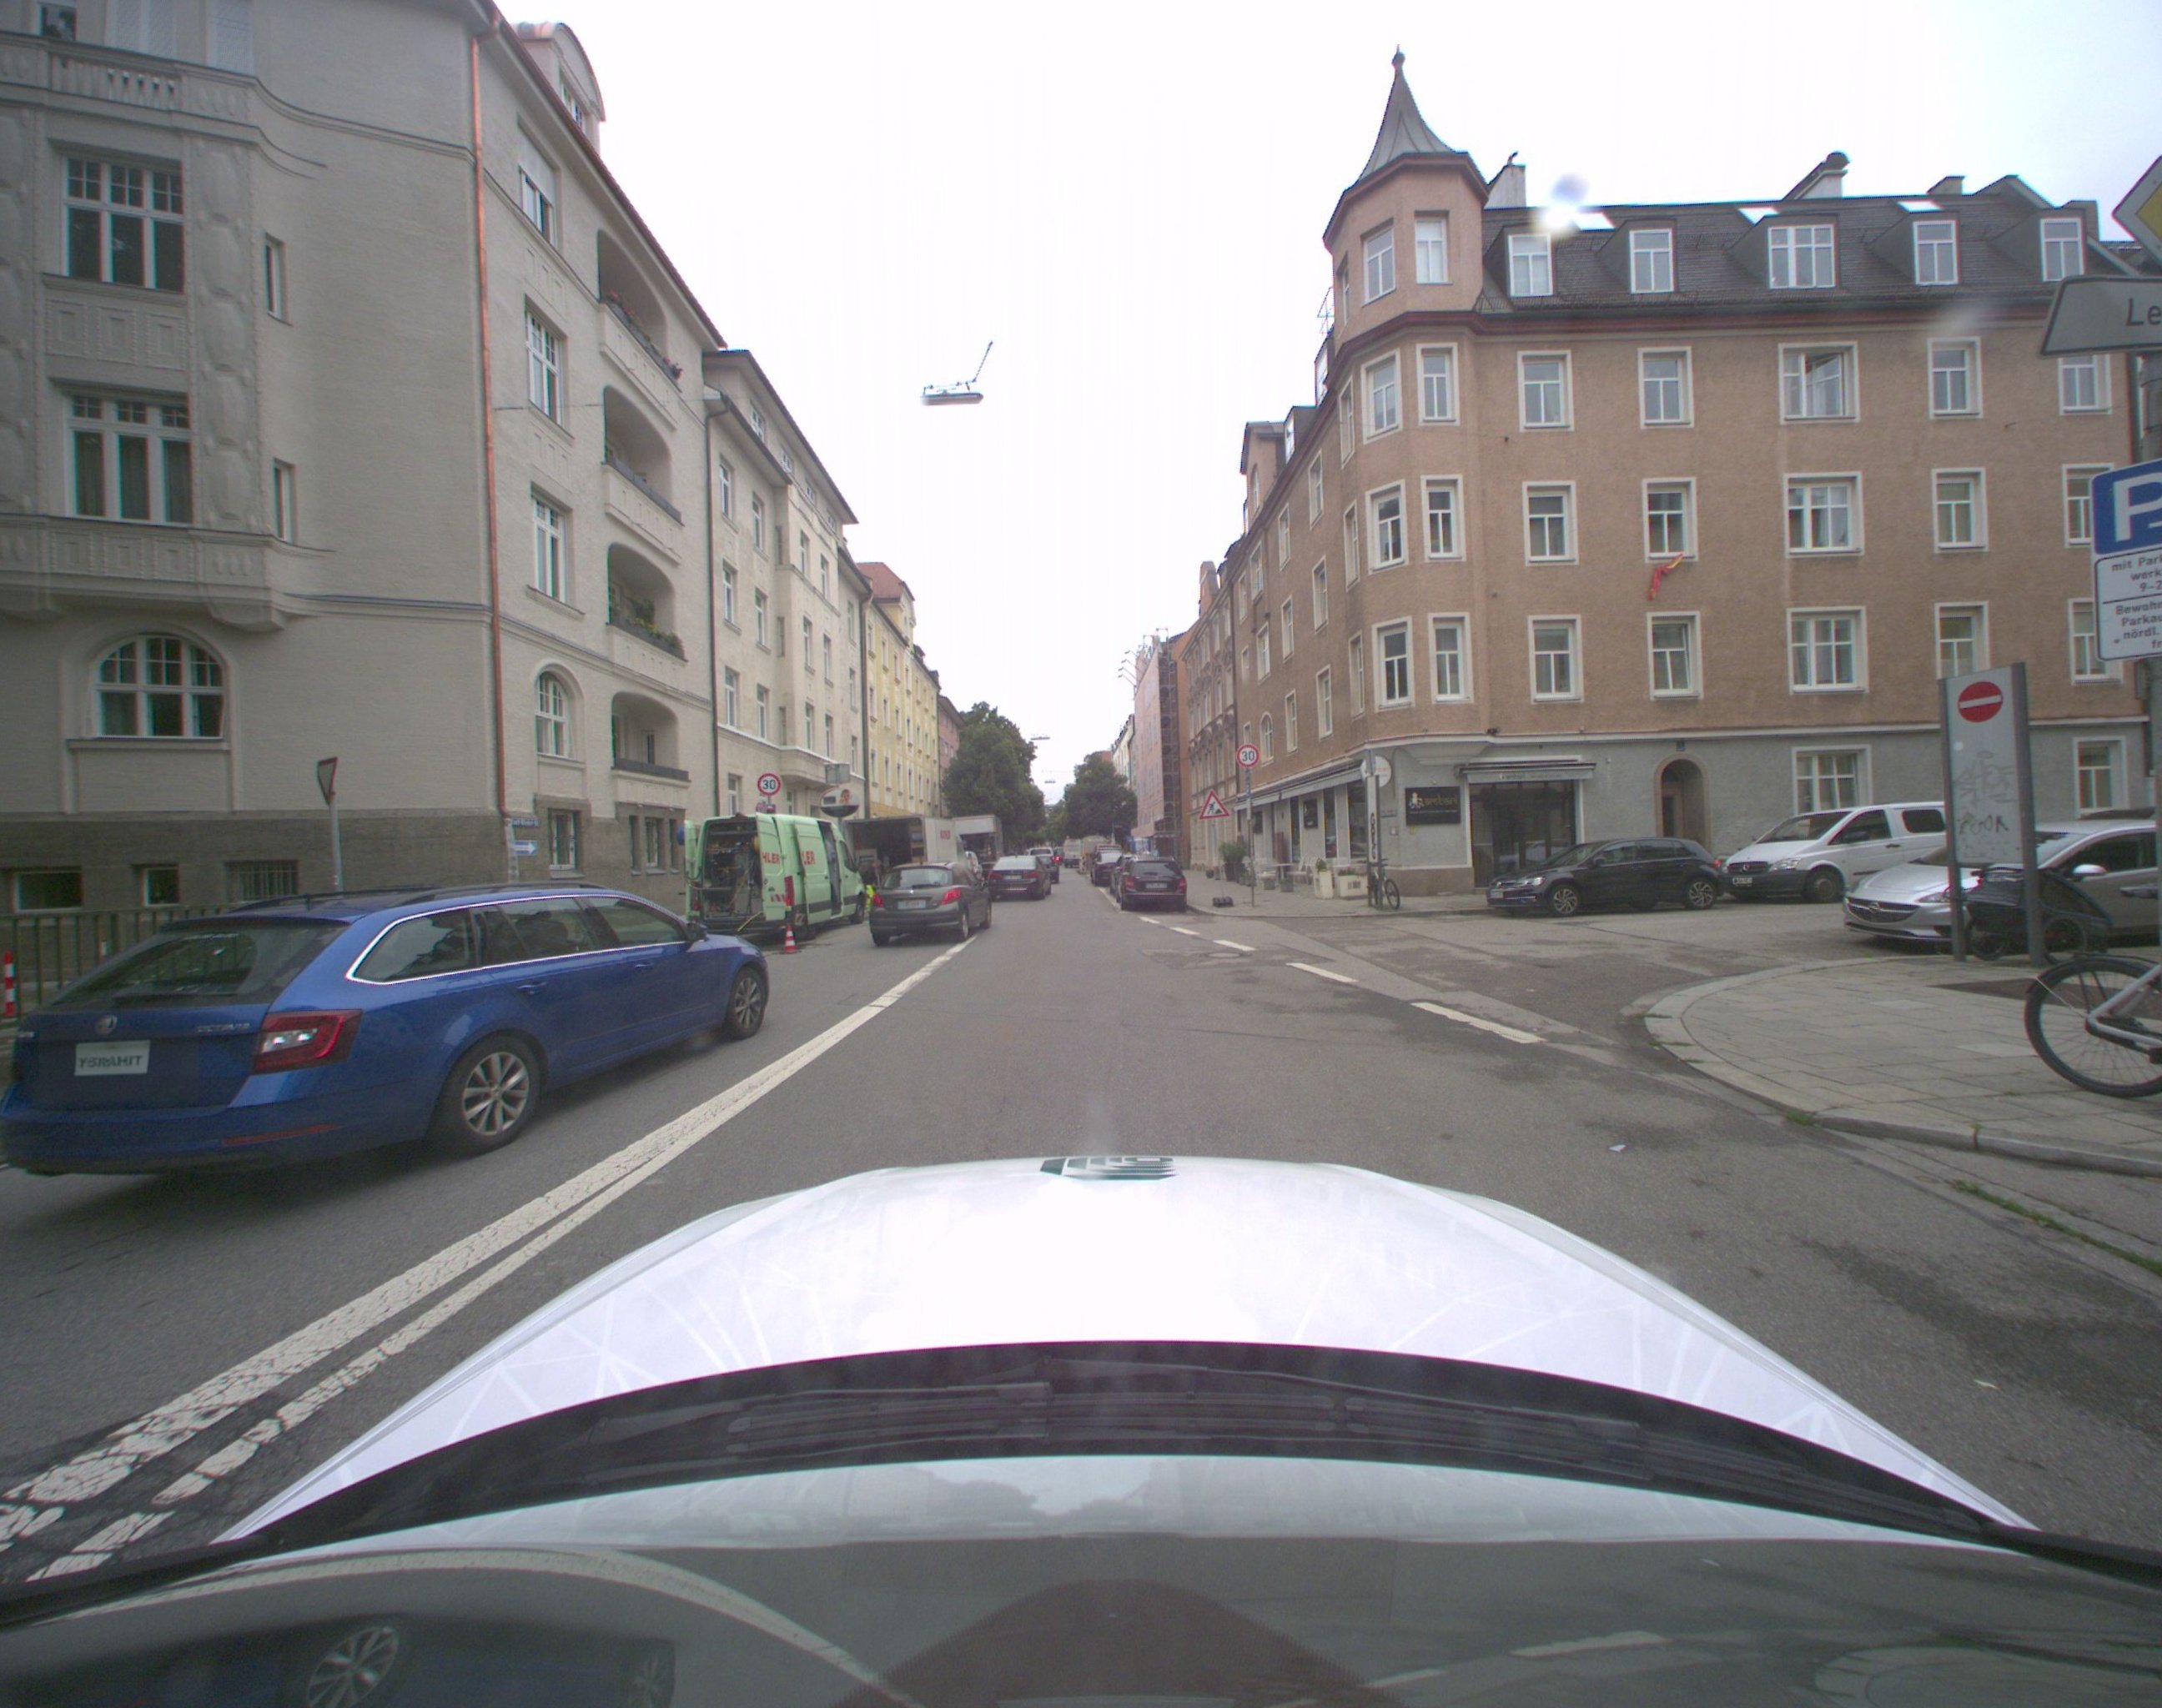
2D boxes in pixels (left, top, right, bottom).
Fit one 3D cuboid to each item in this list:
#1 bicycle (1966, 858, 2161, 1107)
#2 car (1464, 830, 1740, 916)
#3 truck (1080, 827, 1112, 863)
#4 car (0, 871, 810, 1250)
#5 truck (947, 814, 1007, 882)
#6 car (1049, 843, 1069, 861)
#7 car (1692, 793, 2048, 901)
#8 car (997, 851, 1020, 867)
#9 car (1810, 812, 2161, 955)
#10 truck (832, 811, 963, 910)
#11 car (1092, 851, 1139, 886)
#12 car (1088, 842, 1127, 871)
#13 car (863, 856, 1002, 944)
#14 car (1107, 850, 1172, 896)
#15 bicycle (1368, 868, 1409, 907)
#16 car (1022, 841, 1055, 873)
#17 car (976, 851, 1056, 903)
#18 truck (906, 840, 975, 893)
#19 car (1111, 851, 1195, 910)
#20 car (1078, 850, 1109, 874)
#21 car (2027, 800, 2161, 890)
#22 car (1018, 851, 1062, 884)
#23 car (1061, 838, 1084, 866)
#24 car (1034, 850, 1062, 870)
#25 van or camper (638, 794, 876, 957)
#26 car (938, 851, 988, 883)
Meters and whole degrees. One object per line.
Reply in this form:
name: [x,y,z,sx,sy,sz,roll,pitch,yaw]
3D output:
bicycle: [5.555,0.637,3.891,0.512,1.208,1.996,-1,0,2]
car: [10.092,0.373,16.019,4.157,1.429,1.924,-2,-2,-1]
truck: [1.274,-0.755,71.336,2.485,2.973,5.325,-2,0,-1]
car: [-3.973,0.916,5.740,1.976,1.454,4.744,-2,-1,7]
truck: [-6.398,-0.364,51.356,3.005,3.951,6.990,-1,0,-2]
car: [-2.370,-0.206,90.330,1.986,1.904,4.001,-1,0,1]
car: [15.707,-0.103,16.445,5.112,1.854,2.099,-2,-2,-1]
car: [-6.988,0.441,78.544,1.934,1.448,3.864,-2,0,-1]
car: [11.667,0.289,9.896,4.022,1.456,1.747,-2,2,1]
truck: [-6.056,0.140,28.156,2.764,2.873,7.201,-2,1,0]
car: [1.517,0.612,37.474,1.839,1.429,4.303,1,1,-2]
car: [1.423,0.101,45.361,1.984,1.429,4.140,-2,1,0]
car: [-2.788,0.810,16.205,1.751,1.461,4.078,-2,0,3]
car: [1.993,0.625,28.805,1.839,1.429,4.138,1,1,-2]
bicycle: [6.840,0.736,18.160,0.455,0.805,1.327,-1,0,2]
car: [-2.880,0.173,55.812,1.984,2.075,4.140,-2,1,0]
car: [-2.109,0.713,27.775,1.982,1.429,4.910,-3,1,3]
truck: [-6.187,0.523,36.453,2.280,2.171,4.804,-2,0,-1]
car: [1.902,0.675,22.791,1.839,1.429,4.181,1,1,-2]
car: [0.815,0.485,55.049,1.984,1.429,4.140,-2,1,0]
car: [22.630,-0.219,16.437,4.594,1.687,2.099,-2,-2,-1]
car: [-2.001,0.640,40.988,1.984,1.429,4.140,-2,1,0]
car: [-0.769,-0.191,78.249,1.933,2.480,4.783,-2,0,1]
car: [-2.629,0.433,65.292,1.984,1.429,4.140,-2,1,0]
van or camper: [-6.610,0.328,17.751,2.592,2.840,6.185,-2,1,0]
car: [-6.290,0.649,43.842,1.984,1.610,4.140,-2,0,0]
